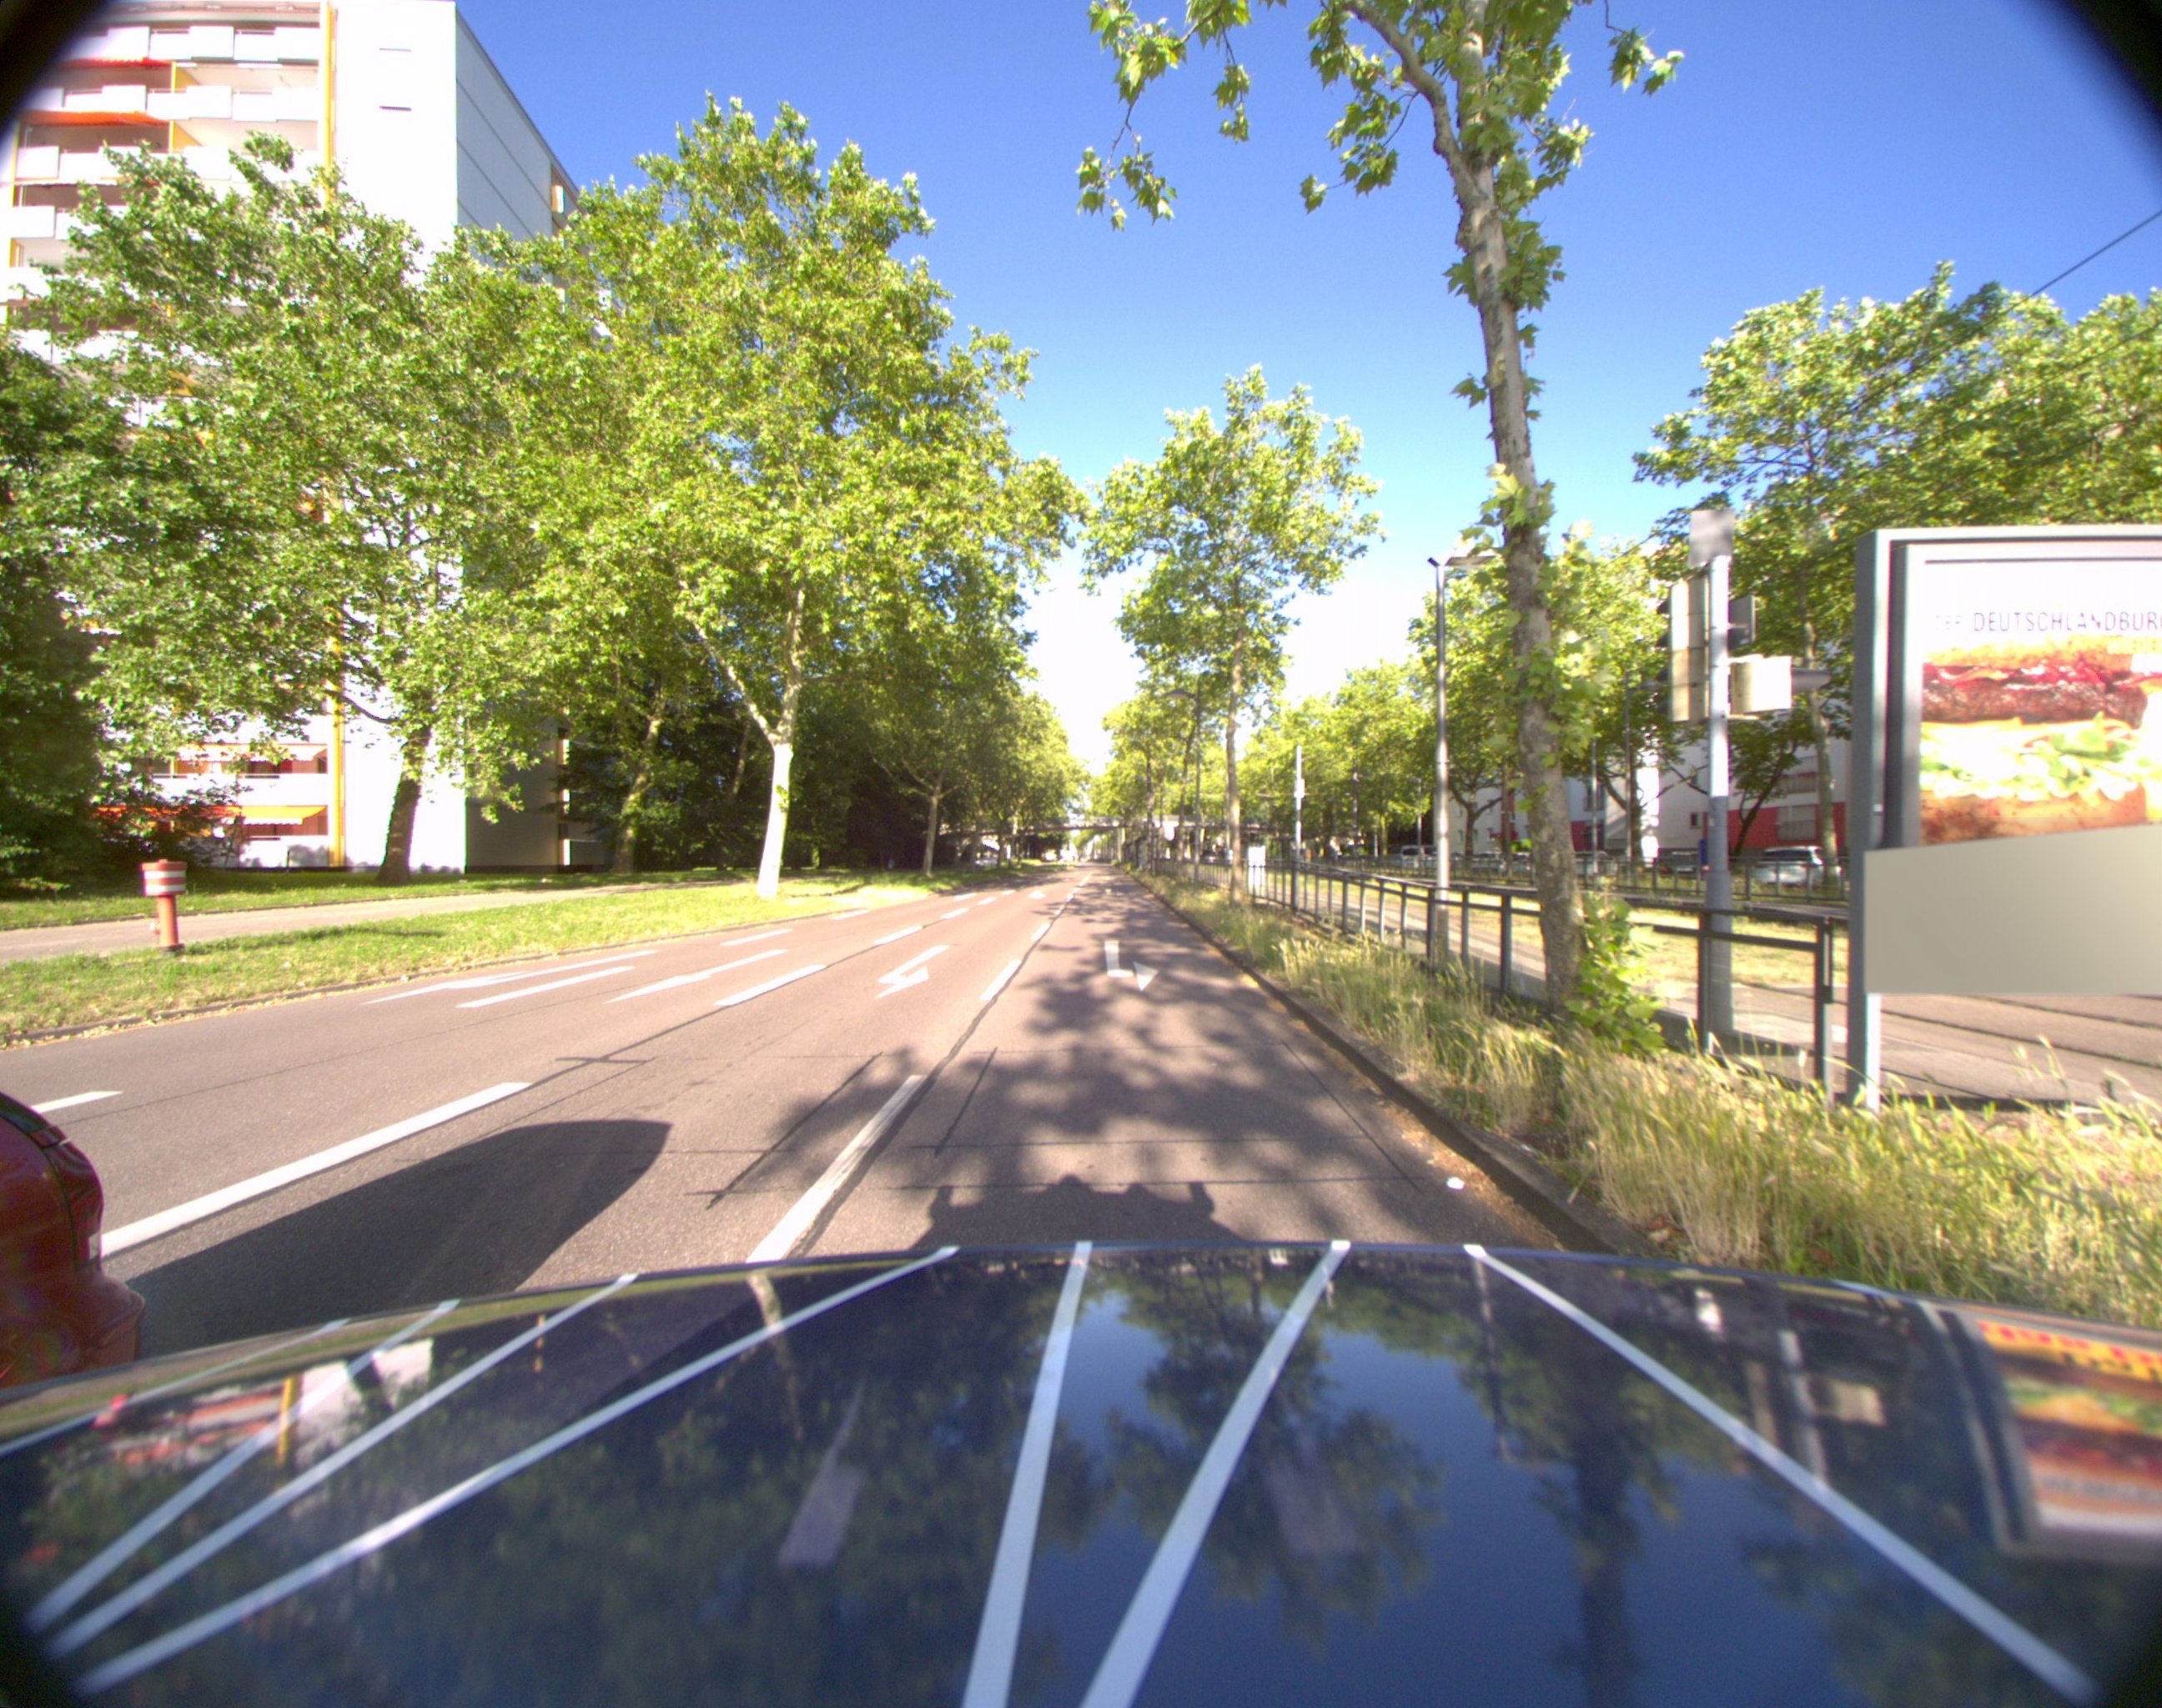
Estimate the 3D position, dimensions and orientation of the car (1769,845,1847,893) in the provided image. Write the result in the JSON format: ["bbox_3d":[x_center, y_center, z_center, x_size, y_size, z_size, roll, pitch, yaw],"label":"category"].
[{"bbox_3d":[25.360,0.489,26.477,3.811,1.501,1.652,-2,0,-42],"label":"car"}]

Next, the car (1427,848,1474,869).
[{"bbox_3d":[26.304,0.310,54.034,3.811,1.433,1.652,-2,0,-42],"label":"car"}]

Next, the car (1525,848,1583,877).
[{"bbox_3d":[25.866,0.443,41.480,3.811,1.433,1.652,-2,0,-42],"label":"car"}]

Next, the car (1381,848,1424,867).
[{"bbox_3d":[25.732,0.270,60.753,3.811,1.433,1.652,-2,0,-42],"label":"car"}]

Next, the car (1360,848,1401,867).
[{"bbox_3d":[24.945,0.273,63.211,3.811,1.433,1.652,-2,0,-42],"label":"car"}]

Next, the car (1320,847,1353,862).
[{"bbox_3d":[26.788,0.046,79.627,3.811,1.433,1.652,-2,0,-42],"label":"car"}]

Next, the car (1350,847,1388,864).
[{"bbox_3d":[26.621,0.136,70.135,3.811,1.433,1.652,-2,0,-42],"label":"car"}]

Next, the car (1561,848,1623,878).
[{"bbox_3d":[25.385,0.448,37.699,3.811,1.348,1.652,-2,0,-42],"label":"car"}]

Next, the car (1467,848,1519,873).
[{"bbox_3d":[25.853,0.398,47.680,3.811,1.433,1.652,-2,0,-42],"label":"car"}]

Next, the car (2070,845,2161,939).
[{"bbox_3d":[19.005,0.640,12.599,1.579,1.548,2.817,-2,0,3],"label":"car"}]

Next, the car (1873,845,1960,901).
[{"bbox_3d":[25.247,0.524,22.968,3.811,1.501,1.652,-2,0,-42],"label":"car"}]

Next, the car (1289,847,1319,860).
[{"bbox_3d":[26.440,-0.046,89.976,3.811,1.433,1.652,-2,0,-42],"label":"car"}]

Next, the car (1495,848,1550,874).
[{"bbox_3d":[26.101,0.407,44.866,3.811,1.433,1.652,-2,0,-42],"label":"car"}]

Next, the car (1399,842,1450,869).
[{"bbox_3d":[25.820,0.090,57.031,4.330,1.863,1.836,-2,0,-42],"label":"car"}]

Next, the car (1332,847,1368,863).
[{"bbox_3d":[26.068,0.134,73.566,3.811,1.433,1.652,-2,0,-42],"label":"car"}]
